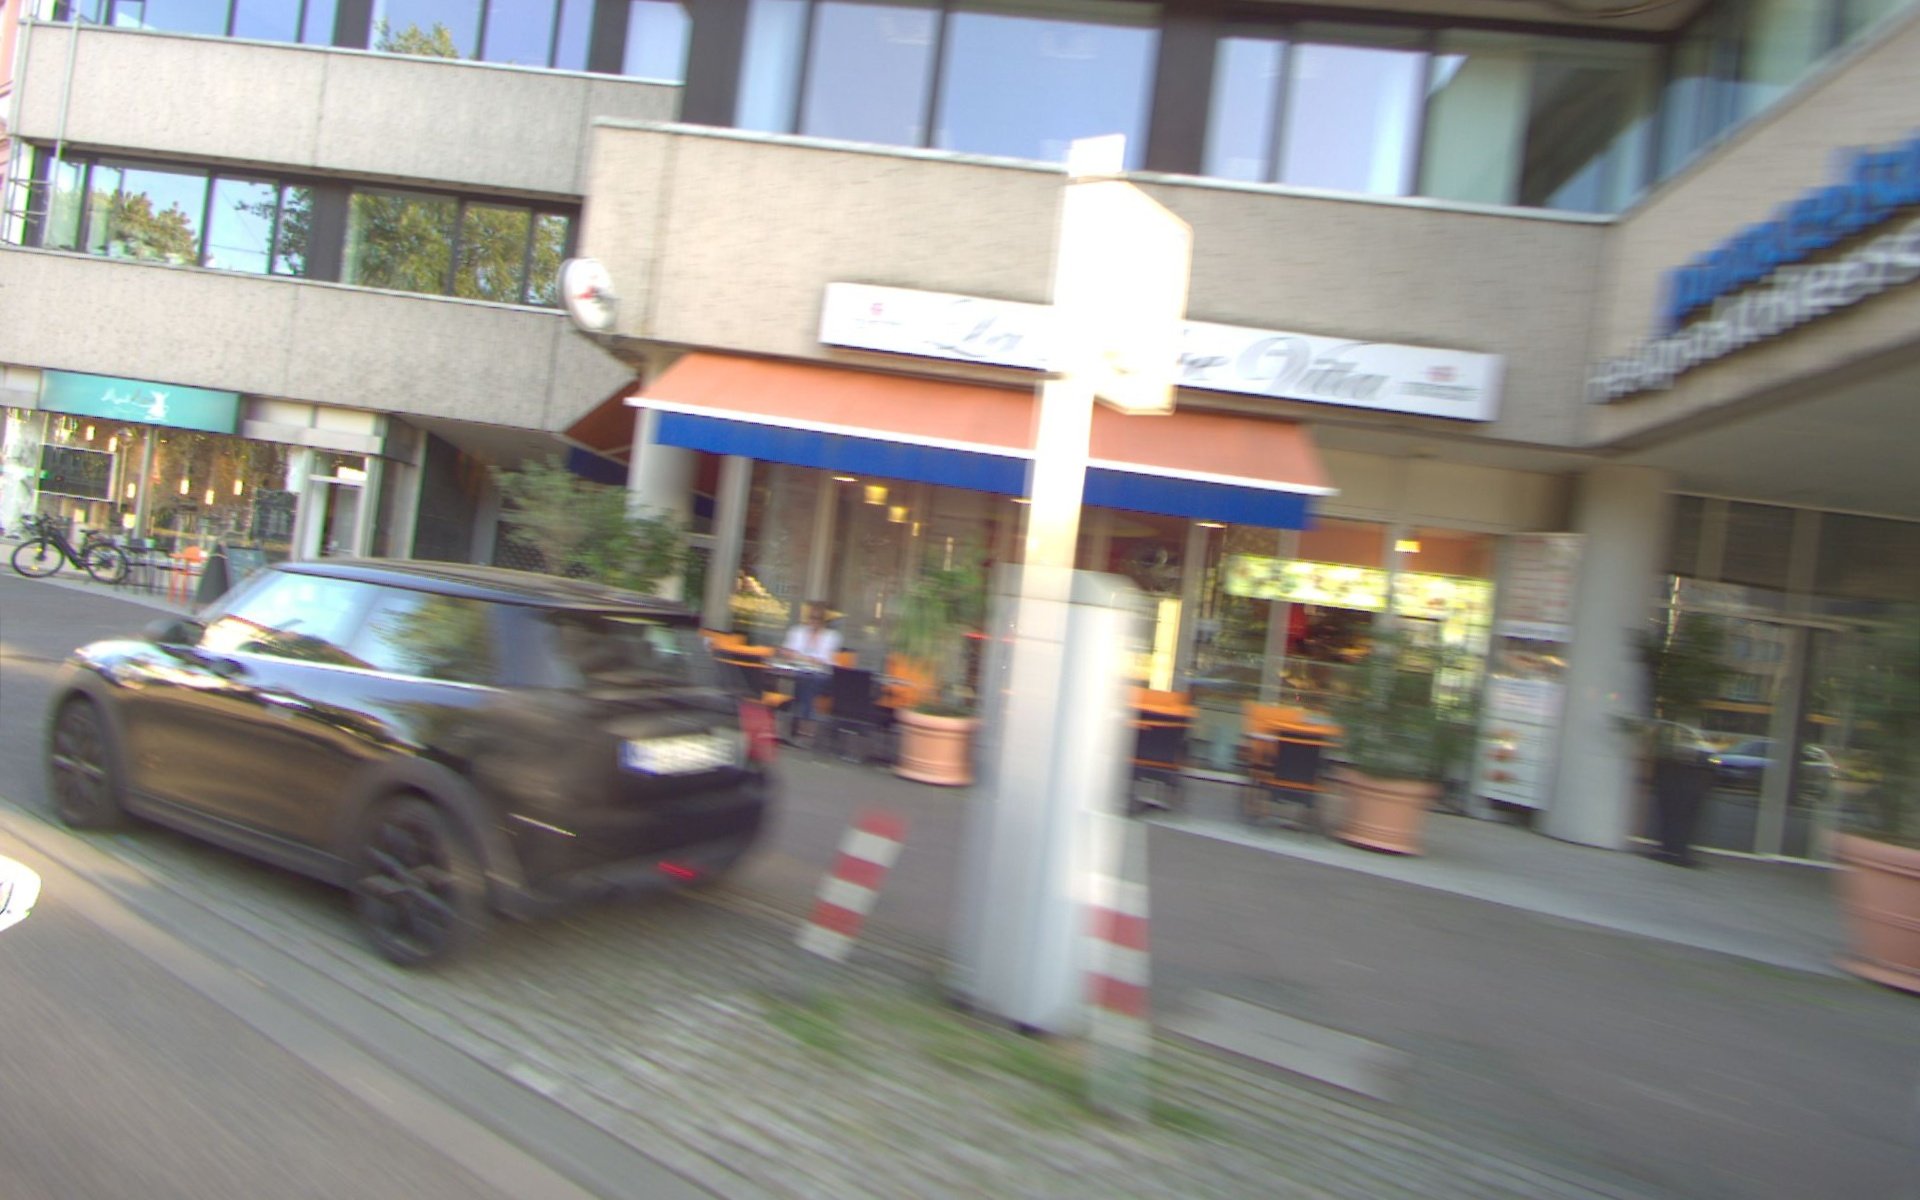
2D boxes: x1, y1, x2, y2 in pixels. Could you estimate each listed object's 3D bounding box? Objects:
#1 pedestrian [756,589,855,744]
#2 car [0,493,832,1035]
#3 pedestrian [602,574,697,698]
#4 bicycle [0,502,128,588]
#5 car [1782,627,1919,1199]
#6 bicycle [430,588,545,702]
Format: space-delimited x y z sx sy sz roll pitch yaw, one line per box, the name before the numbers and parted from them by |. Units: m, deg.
pedestrian | -1.440 0.614 9.490 0.698 1.312 0.763 8 -1 -4
car | -2.777 0.496 4.922 3.856 1.525 1.794 7 -2 32
pedestrian | -3.466 0.415 11.253 0.528 1.294 0.705 7 1 31
bicycle | -15.223 -0.918 17.064 1.637 1.293 0.414 4 0 -12
car | 3.935 1.167 1.086 4.326 1.825 1.788 7 -2 29
bicycle | -4.863 0.416 10.467 0.450 1.018 1.888 6 1 -8
